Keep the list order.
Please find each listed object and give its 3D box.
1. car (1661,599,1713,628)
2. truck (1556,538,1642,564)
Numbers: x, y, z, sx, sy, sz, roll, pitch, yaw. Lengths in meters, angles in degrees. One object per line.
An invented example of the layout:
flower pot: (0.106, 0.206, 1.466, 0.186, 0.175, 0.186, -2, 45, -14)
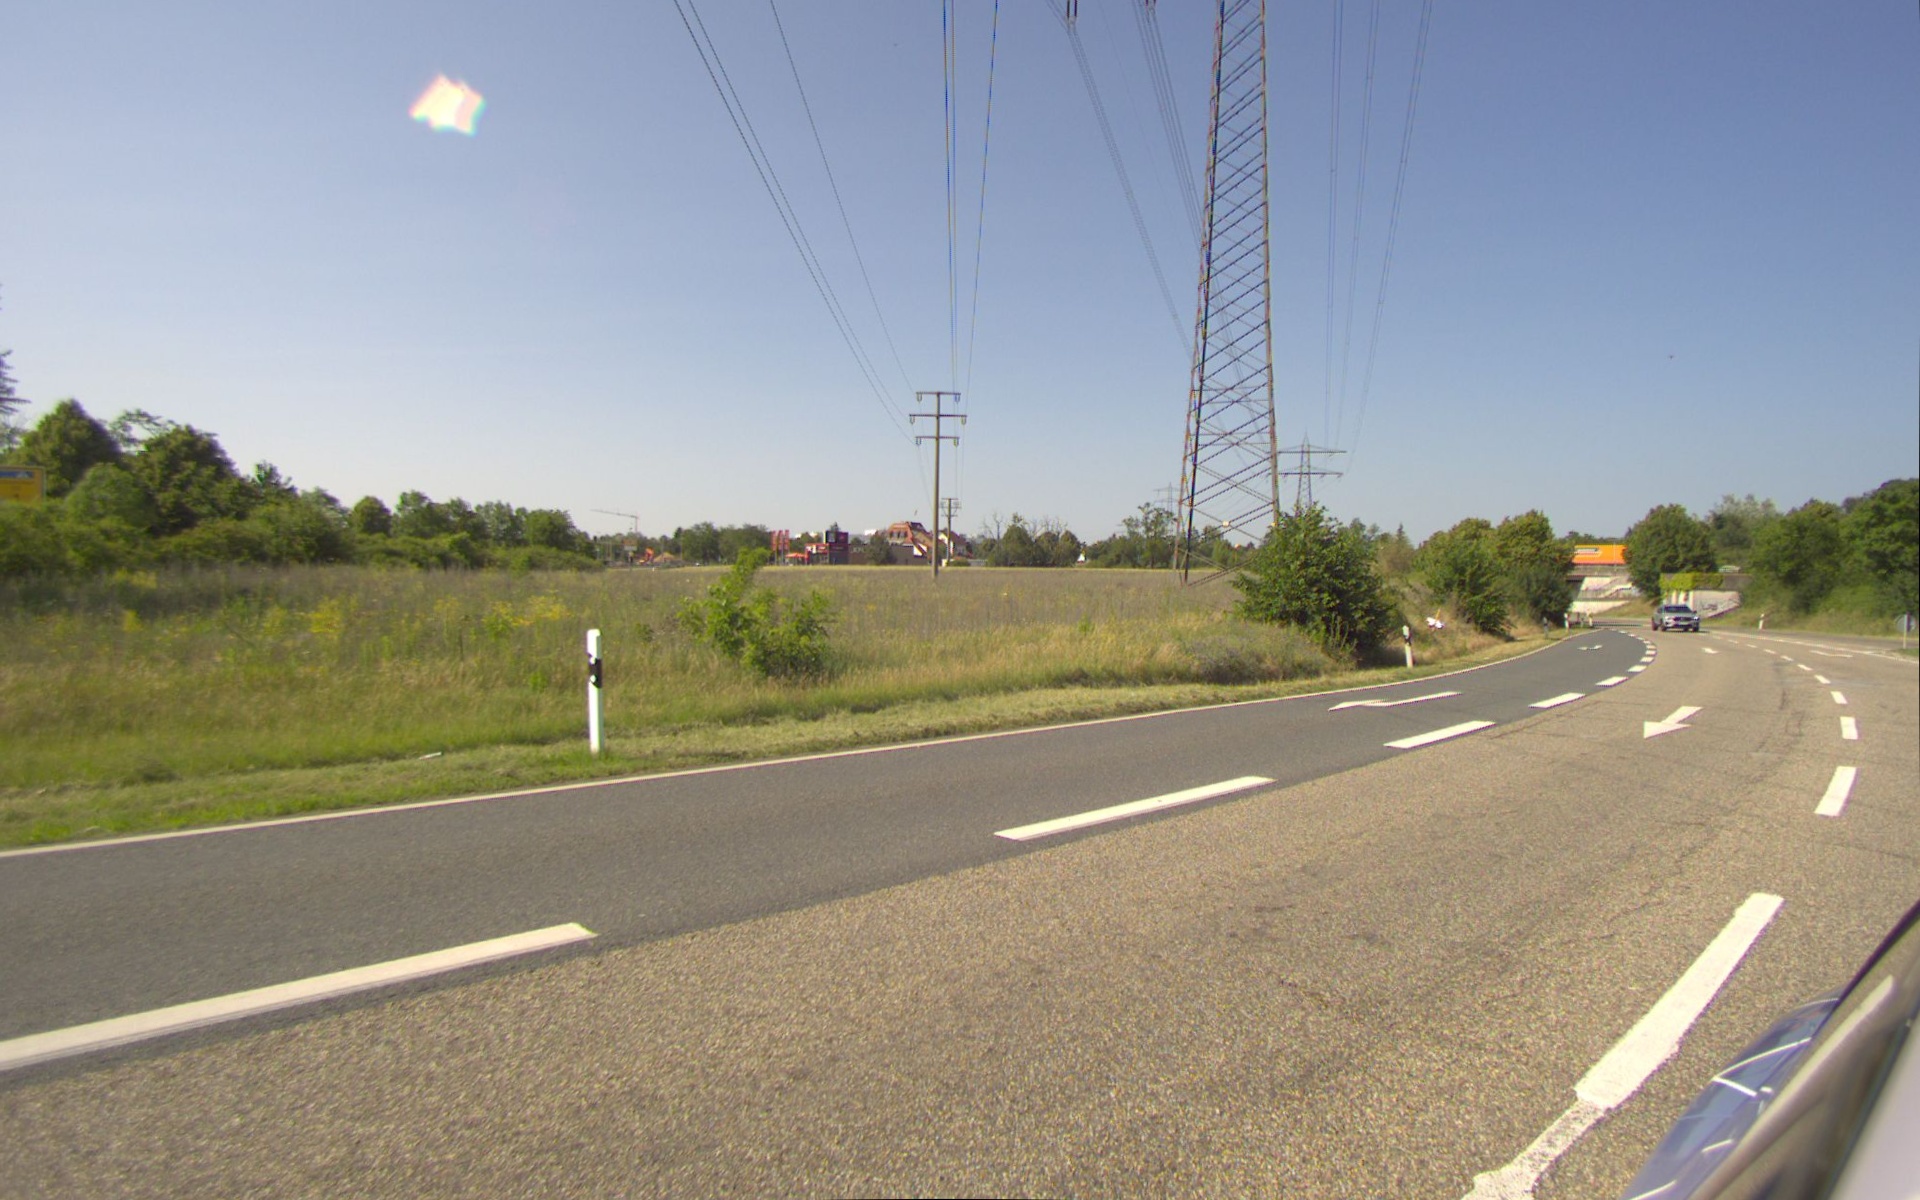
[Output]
car: (43.623, 0.805, 60.774, 1.841, 1.639, 3.616, 1, 0, 25)
truck: (91.804, -6.930, 145.620, 2.117, 3.224, 11.304, 0, 0, -22)
